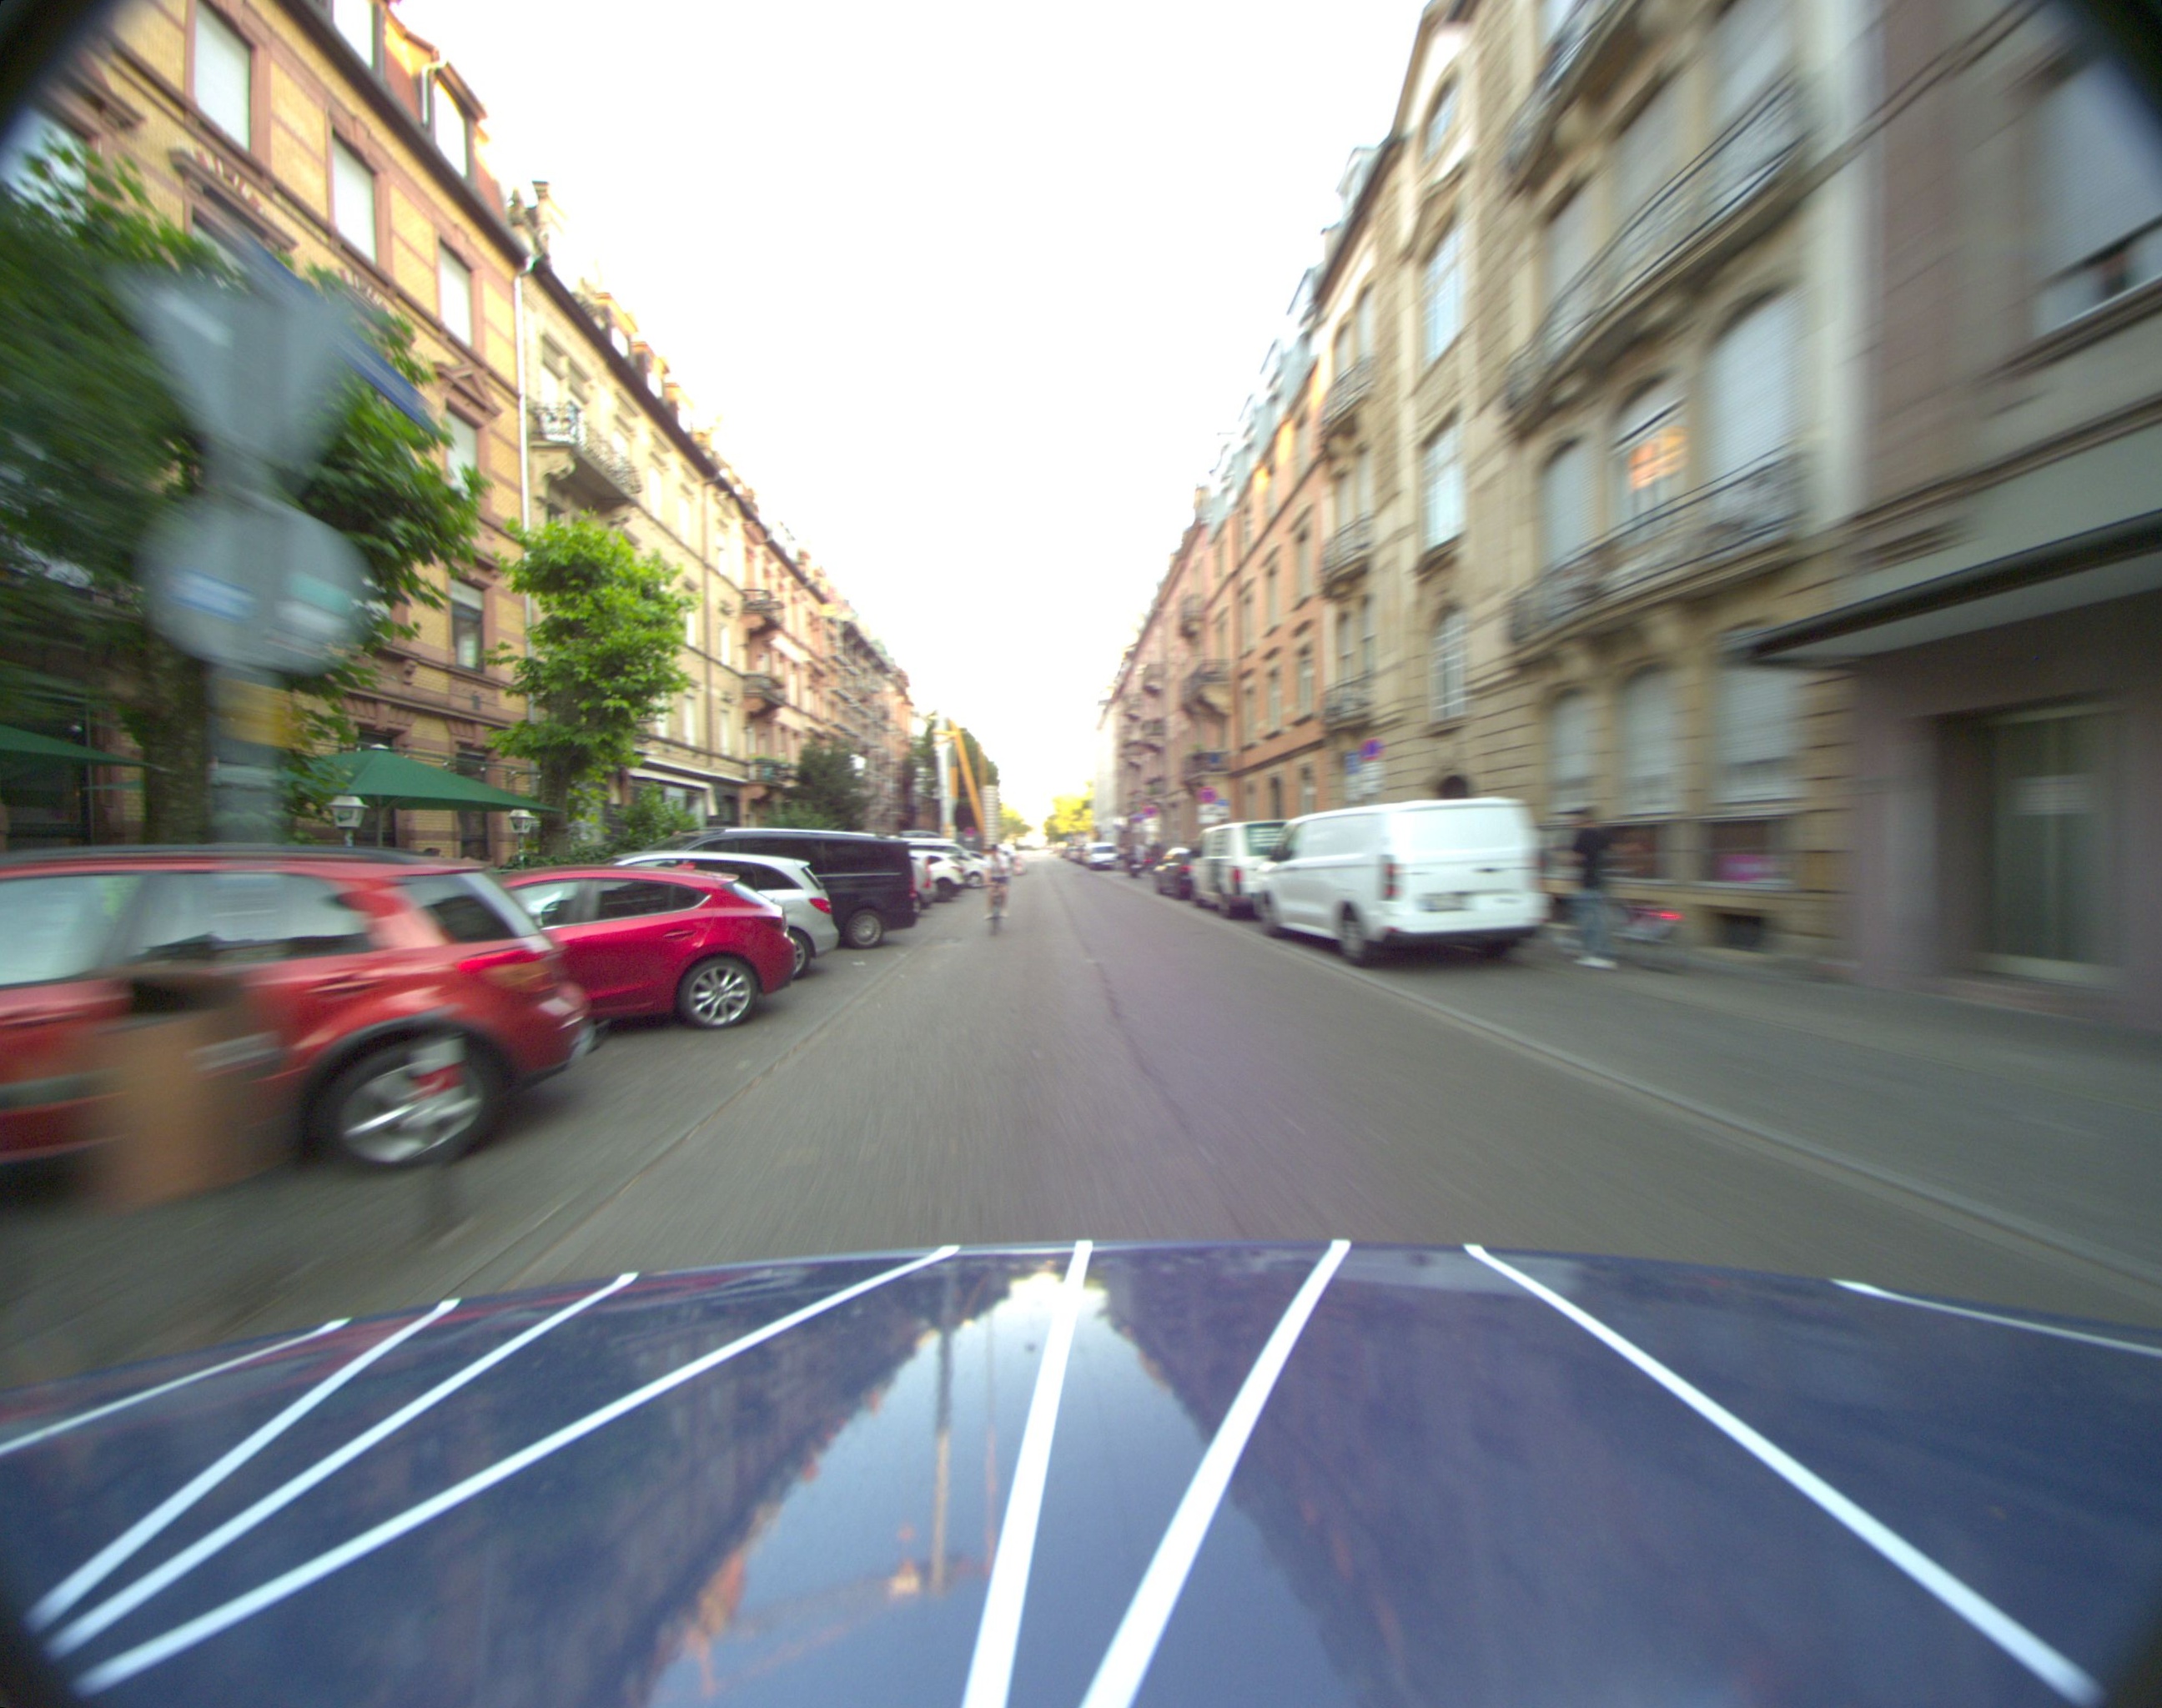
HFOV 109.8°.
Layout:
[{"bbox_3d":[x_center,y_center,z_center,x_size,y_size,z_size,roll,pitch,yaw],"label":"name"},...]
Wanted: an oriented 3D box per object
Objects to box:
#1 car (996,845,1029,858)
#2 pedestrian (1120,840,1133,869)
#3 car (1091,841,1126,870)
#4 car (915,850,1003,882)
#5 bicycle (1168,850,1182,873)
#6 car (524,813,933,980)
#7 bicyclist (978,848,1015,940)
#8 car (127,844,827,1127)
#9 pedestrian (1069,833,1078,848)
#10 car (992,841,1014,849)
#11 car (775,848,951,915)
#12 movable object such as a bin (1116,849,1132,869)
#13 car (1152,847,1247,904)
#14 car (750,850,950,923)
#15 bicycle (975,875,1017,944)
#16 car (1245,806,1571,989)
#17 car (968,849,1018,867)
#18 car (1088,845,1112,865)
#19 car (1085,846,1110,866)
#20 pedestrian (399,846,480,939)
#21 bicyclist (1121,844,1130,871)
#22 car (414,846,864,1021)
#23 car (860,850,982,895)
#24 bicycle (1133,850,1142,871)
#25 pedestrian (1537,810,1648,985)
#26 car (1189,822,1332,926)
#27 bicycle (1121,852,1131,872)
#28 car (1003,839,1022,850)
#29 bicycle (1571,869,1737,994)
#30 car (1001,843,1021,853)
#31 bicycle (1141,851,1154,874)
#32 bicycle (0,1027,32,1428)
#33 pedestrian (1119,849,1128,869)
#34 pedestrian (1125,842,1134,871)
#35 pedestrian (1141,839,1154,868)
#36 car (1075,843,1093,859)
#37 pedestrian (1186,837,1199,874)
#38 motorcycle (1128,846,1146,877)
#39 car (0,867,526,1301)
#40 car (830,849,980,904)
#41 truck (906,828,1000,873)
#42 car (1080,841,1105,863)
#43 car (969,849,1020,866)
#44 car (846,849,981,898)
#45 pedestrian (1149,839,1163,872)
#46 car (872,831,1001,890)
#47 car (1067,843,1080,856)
[{"bbox_3d":[-8.915,-0.334,98.957,3.842,1.510,1.673,1,2,-35],"label":"car"},{"bbox_3d":[2.847,0.024,47.363,0.600,1.804,0.719,-3,2,-11],"label":"pedestrian"},{"bbox_3d":[1.762,0.056,50.823,1.775,1.779,4.584,-2,1,-4],"label":"car"},{"bbox_3d":[-6.002,0.552,37.485,3.873,1.507,1.843,-1,1,-29],"label":"car"},{"bbox_3d":[5.015,0.364,40.429,0.413,1.153,1.837,-2,2,-2],"label":"bicycle"},{"bbox_3d":[-5.231,0.571,11.873,5.449,2.060,1.928,1,0,-41],"label":"car"},{"bbox_3d":[-1.624,0.746,14.648,0.528,1.694,0.789,-2,2,1],"label":"bicyclist"},{"bbox_3d":[-4.685,0.816,6.629,4.233,1.678,1.928,1,0,-41],"label":"car"},{"bbox_3d":[-1.397,-2.541,141.556,1.446,2.725,1.011,-3,2,-4],"label":"pedestrian"},{"bbox_3d":[-14.455,-1.684,140.860,3.841,1.510,1.673,1,2,-31],"label":"car"},{"bbox_3d":[-5.736,0.701,20.262,4.118,1.581,1.813,1,0,-40],"label":"car"},{"bbox_3d":[2.735,0.317,48.047,0.890,1.244,0.776,-2,2,-2],"label":"movable object such as a bin"},{"bbox_3d":[3.393,0.548,22.490,1.842,1.462,4.170,-1,1,-5],"label":"car"},{"bbox_3d":[-5.384,0.727,17.891,4.117,1.543,1.814,1,0,-34],"label":"car"},{"bbox_3d":[-1.614,1.030,14.717,0.520,1.148,1.782,-2,2,1],"label":"bicycle"},{"bbox_3d":[4.085,0.425,10.675,2.115,1.910,5.023,-1,1,-4],"label":"car"},{"bbox_3d":[-7.602,0.333,65.707,4.003,1.480,1.680,1,0,-37],"label":"car"},{"bbox_3d":[1.487,0.066,60.968,1.710,1.521,3.791,-2,1,-1],"label":"car"},{"bbox_3d":[1.396,0.155,65.440,1.932,1.587,3.968,-2,1,-1],"label":"car"},{"bbox_3d":[-9.892,0.576,11.746,0.589,1.358,0.697,-3,2,-6],"label":"pedestrian"},{"bbox_3d":[2.610,0.192,44.382,0.467,1.581,0.487,-2,2,1],"label":"bicyclist"},{"bbox_3d":[-5.010,0.775,9.050,4.233,1.613,1.928,1,0,-36],"label":"car"},{"bbox_3d":[-6.104,0.669,29.046,4.173,1.581,1.881,-1,1,-31],"label":"car"},{"bbox_3d":[3.367,0.372,44.984,0.466,1.148,2.000,-2,2,4],"label":"bicycle"},{"bbox_3d":[5.636,0.445,8.415,0.538,1.813,0.996,-2,2,1],"label":"pedestrian"},{"bbox_3d":[3.725,0.342,16.728,1.842,1.910,4.843,-1,1,-2],"label":"car"},{"bbox_3d":[2.600,0.459,44.187,0.467,1.062,1.520,-2,2,1],"label":"bicycle"},{"bbox_3d":[-15.799,-2.193,175.489,4.202,2.246,1.673,1,2,-38],"label":"car"},{"bbox_3d":[6.191,0.777,8.335,0.472,1.136,1.784,-2,2,1],"label":"bicycle"},{"bbox_3d":[-15.347,-1.307,167.079,4.202,2.280,1.673,0,2,-42],"label":"car"},{"bbox_3d":[3.568,0.417,40.715,0.413,1.153,1.837,-2,2,-2],"label":"bicycle"},{"bbox_3d":[-3.869,1.100,1.887,1.553,1.154,0.364,0,1,-17],"label":"bicycle"},{"bbox_3d":[2.710,0.316,48.127,0.479,1.244,0.652,-2,2,-2],"label":"pedestrian"},{"bbox_3d":[2.856,0.120,45.018,0.419,1.699,0.350,-3,2,-8],"label":"pedestrian"},{"bbox_3d":[4.163,-0.030,47.338,0.598,1.804,0.721,-2,2,16],"label":"pedestrian"},{"bbox_3d":[0.284,-0.336,85.331,1.730,1.638,3.915,-2,1,-3],"label":"car"},{"bbox_3d":[5.379,0.056,36.645,0.464,1.779,0.641,-2,2,1],"label":"pedestrian"},{"bbox_3d":[2.650,0.351,36.121,0.686,1.397,2.014,-2,2,0],"label":"motorcycle"},{"bbox_3d":[-4.944,0.877,3.280,4.056,1.618,1.688,0,-1,-34],"label":"car"},{"bbox_3d":[-5.412,0.679,23.489,4.117,1.581,1.814,1,0,-33],"label":"car"},{"bbox_3d":[-9.610,-0.260,57.511,6.496,3.059,2.524,-2,2,1],"label":"truck"},{"bbox_3d":[1.010,-0.212,70.745,1.933,1.872,4.903,-2,1,-3],"label":"car"},{"bbox_3d":[-7.783,0.287,68.686,4.179,1.480,1.826,1,0,-39],"label":"car"},{"bbox_3d":[-5.782,0.659,26.394,4.174,1.581,1.881,1,-1,-33],"label":"car"},{"bbox_3d":[4.240,0.069,42.960,0.683,1.800,0.961,-2,2,2],"label":"pedestrian"},{"bbox_3d":[-6.035,0.226,31.917,4.946,2.349,1.995,-1,1,-29],"label":"car"},{"bbox_3d":[-1.194,-0.660,116.198,1.786,1.860,4.456,-2,1,-1],"label":"car"}]
